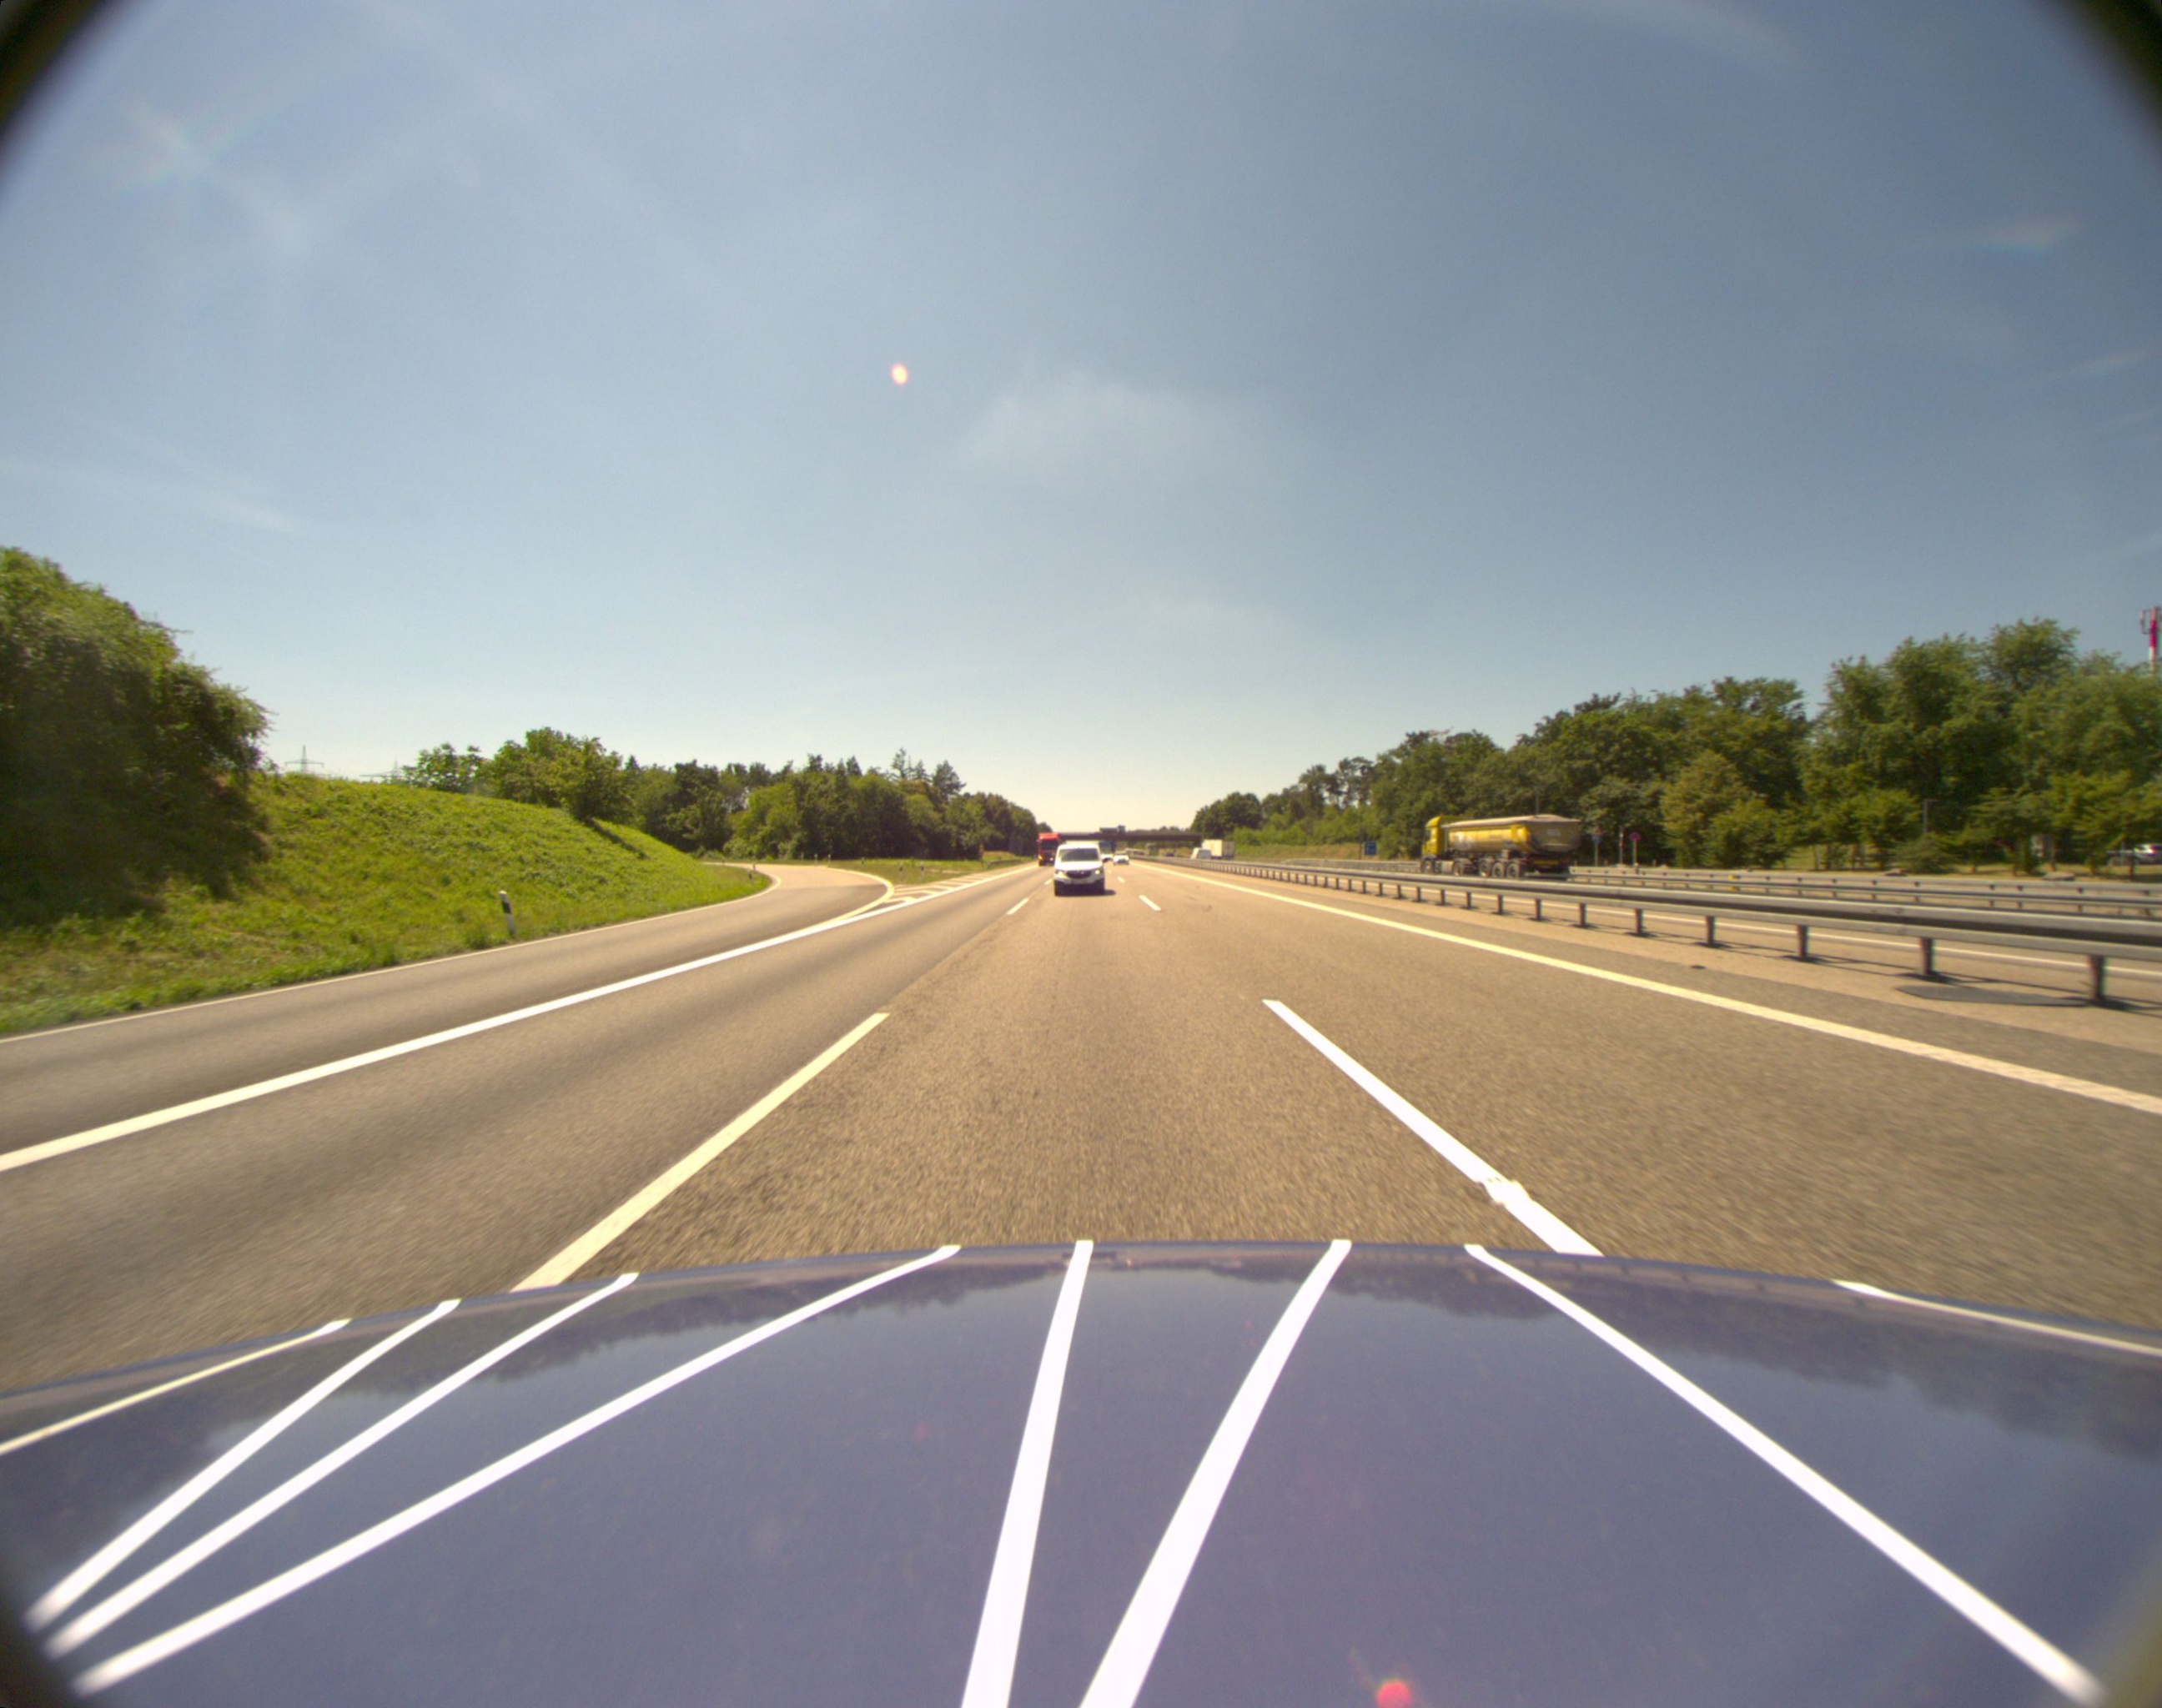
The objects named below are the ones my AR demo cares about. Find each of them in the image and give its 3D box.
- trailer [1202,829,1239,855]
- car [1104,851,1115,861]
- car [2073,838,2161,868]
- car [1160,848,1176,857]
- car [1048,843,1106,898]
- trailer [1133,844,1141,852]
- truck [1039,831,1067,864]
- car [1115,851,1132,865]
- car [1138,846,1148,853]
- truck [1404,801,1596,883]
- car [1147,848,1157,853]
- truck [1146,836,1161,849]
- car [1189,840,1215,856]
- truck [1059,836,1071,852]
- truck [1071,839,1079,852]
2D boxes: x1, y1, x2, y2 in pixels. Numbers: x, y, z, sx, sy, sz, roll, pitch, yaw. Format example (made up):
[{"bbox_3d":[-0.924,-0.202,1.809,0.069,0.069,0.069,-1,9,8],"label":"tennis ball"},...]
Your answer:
[{"bbox_3d":[27.565,-2.318,150.907,3.080,4.799,13.757,2,0,-6],"label":"trailer"},{"bbox_3d":[4.557,0.371,121.190,1.581,1.411,3.353,-2,-2,0],"label":"car"},{"bbox_3d":[76.266,-0.096,55.070,2.474,1.979,5.249,-2,0,12],"label":"car"},{"bbox_3d":[14.744,-0.235,128.550,2.057,1.542,4.890,2,0,0],"label":"car"},{"bbox_3d":[-0.061,0.559,28.197,1.870,1.807,4.941,-2,0,2],"label":"car"},{"bbox_3d":[18.838,-2.024,256.329,2.483,2.731,5.074,2,0,0],"label":"trailer"},{"bbox_3d":[-3.325,-0.760,93.205,2.688,3.776,12.477,-2,0,0],"label":"truck"},{"bbox_3d":[4.574,0.447,82.679,1.581,1.411,3.353,-2,-2,0],"label":"car"},{"bbox_3d":[15.127,-1.035,185.534,2.057,1.542,4.890,2,0,0],"label":"car"},{"bbox_3d":[22.125,-0.583,41.655,3.179,3.788,13.529,0,0,1],"label":"truck"},{"bbox_3d":[19.143,-0.904,205.860,2.233,1.372,4.890,2,0,0],"label":"car"},{"bbox_3d":[22.322,-3.482,235.334,3.334,3.973,16.865,0,0,1],"label":"truck"},{"bbox_3d":[14.312,-0.744,90.168,2.057,1.832,5.942,0,0,0],"label":"car"},{"bbox_3d":[-3.778,-2.278,180.626,2.535,3.712,6.098,-2,0,0],"label":"truck"},{"bbox_3d":[-1.852,-2.629,238.614,2.603,3.979,6.173,-2,0,0],"label":"truck"}]
